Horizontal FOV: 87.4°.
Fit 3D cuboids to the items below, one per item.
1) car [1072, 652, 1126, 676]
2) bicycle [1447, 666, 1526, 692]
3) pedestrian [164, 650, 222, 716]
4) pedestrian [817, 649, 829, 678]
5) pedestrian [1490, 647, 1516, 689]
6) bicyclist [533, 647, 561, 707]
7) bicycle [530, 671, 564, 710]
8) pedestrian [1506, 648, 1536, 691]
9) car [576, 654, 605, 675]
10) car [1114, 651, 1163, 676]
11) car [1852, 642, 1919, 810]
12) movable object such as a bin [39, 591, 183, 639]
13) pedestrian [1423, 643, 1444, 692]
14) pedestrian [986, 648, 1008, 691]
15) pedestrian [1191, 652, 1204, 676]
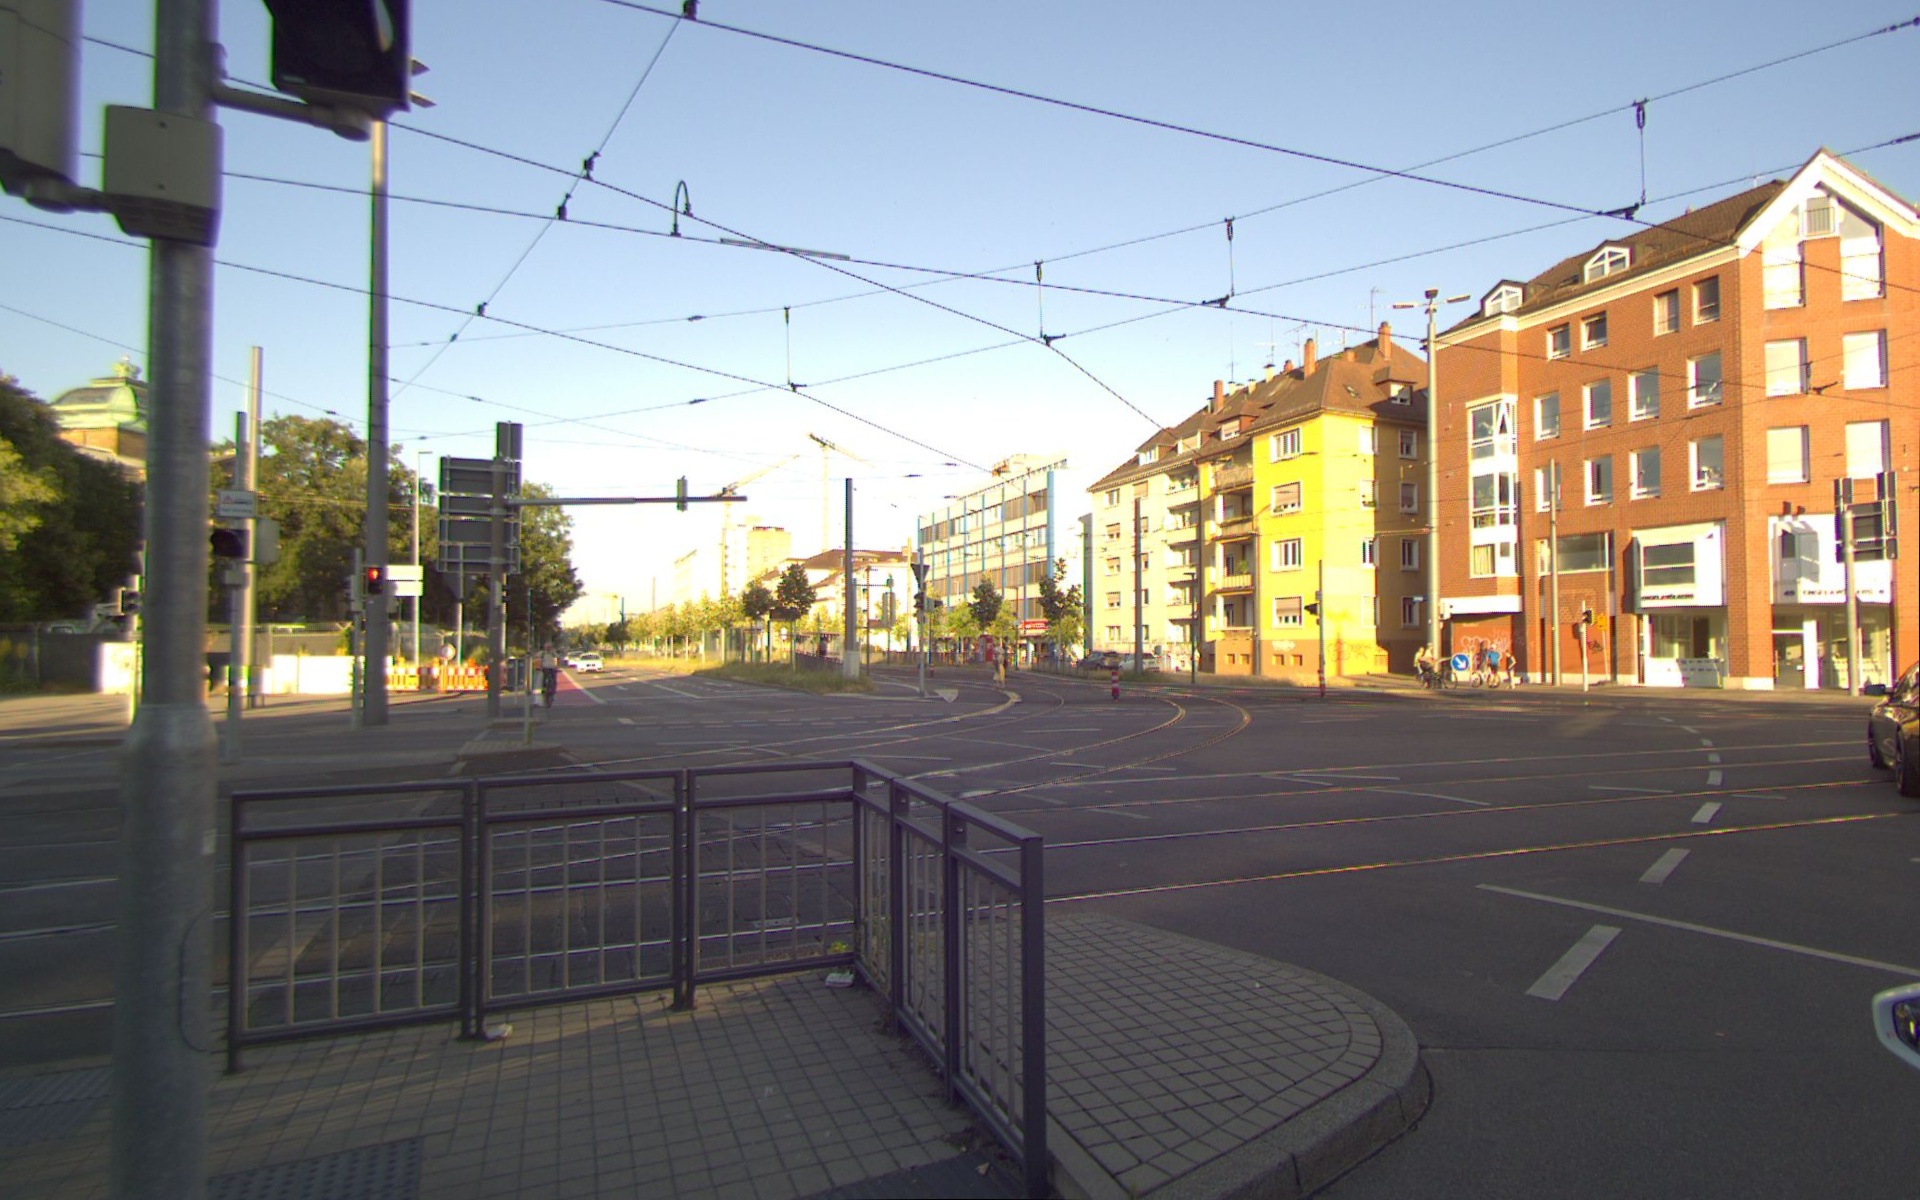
[{"bbox_3d":[10.491,4.864,76.080,2.090,1.727,4.325,2,-3,-24],"label":"car"},{"bbox_3d":[22.938,3.439,43.844,0.920,1.030,3.042,1,-3,-28],"label":"bicycle"},{"bbox_3d":[-20.906,2.240,27.389,0.806,1.758,0.943,-1,-3,26],"label":"pedestrian"},{"bbox_3d":[-7.591,3.500,55.554,0.557,1.611,0.688,1,-3,-19],"label":"pedestrian"},{"bbox_3d":[23.804,2.979,44.049,0.805,1.801,0.634,1,-3,-30],"label":"pedestrian"},{"bbox_3d":[-11.850,2.187,28.806,0.589,1.692,0.742,1,-3,-32],"label":"bicyclist"},{"bbox_3d":[-11.832,2.582,28.757,0.590,1.036,1.832,1,-3,-32],"label":"bicycle"},{"bbox_3d":[24.219,2.991,43.403,0.702,1.817,0.866,1,-3,-30],"label":"pedestrian"},{"bbox_3d":[-26.550,4.647,72.266,1.887,1.424,4.288,0,-3,-19],"label":"car"},{"bbox_3d":[12.633,4.473,71.247,1.715,1.439,3.522,0,2,-24],"label":"car"},{"bbox_3d":[10.863,1.209,10.578,1.818,1.514,4.275,-4,-4,37],"label":"car"},{"bbox_3d":[-37.175,0.693,44.034,4.922,2.040,2.002,-1,-2,8],"label":"movable object such as a bin"},{"bbox_3d":[16.990,2.427,36.072,0.413,1.730,0.513,1,-3,-21],"label":"pedestrian"},{"bbox_3d":[1.366,2.576,37.206,0.694,1.561,0.636,0,-2,-6],"label":"pedestrian"},{"bbox_3d":[15.880,4.285,67.255,0.698,1.619,0.734,-1,-3,26],"label":"pedestrian"}]
